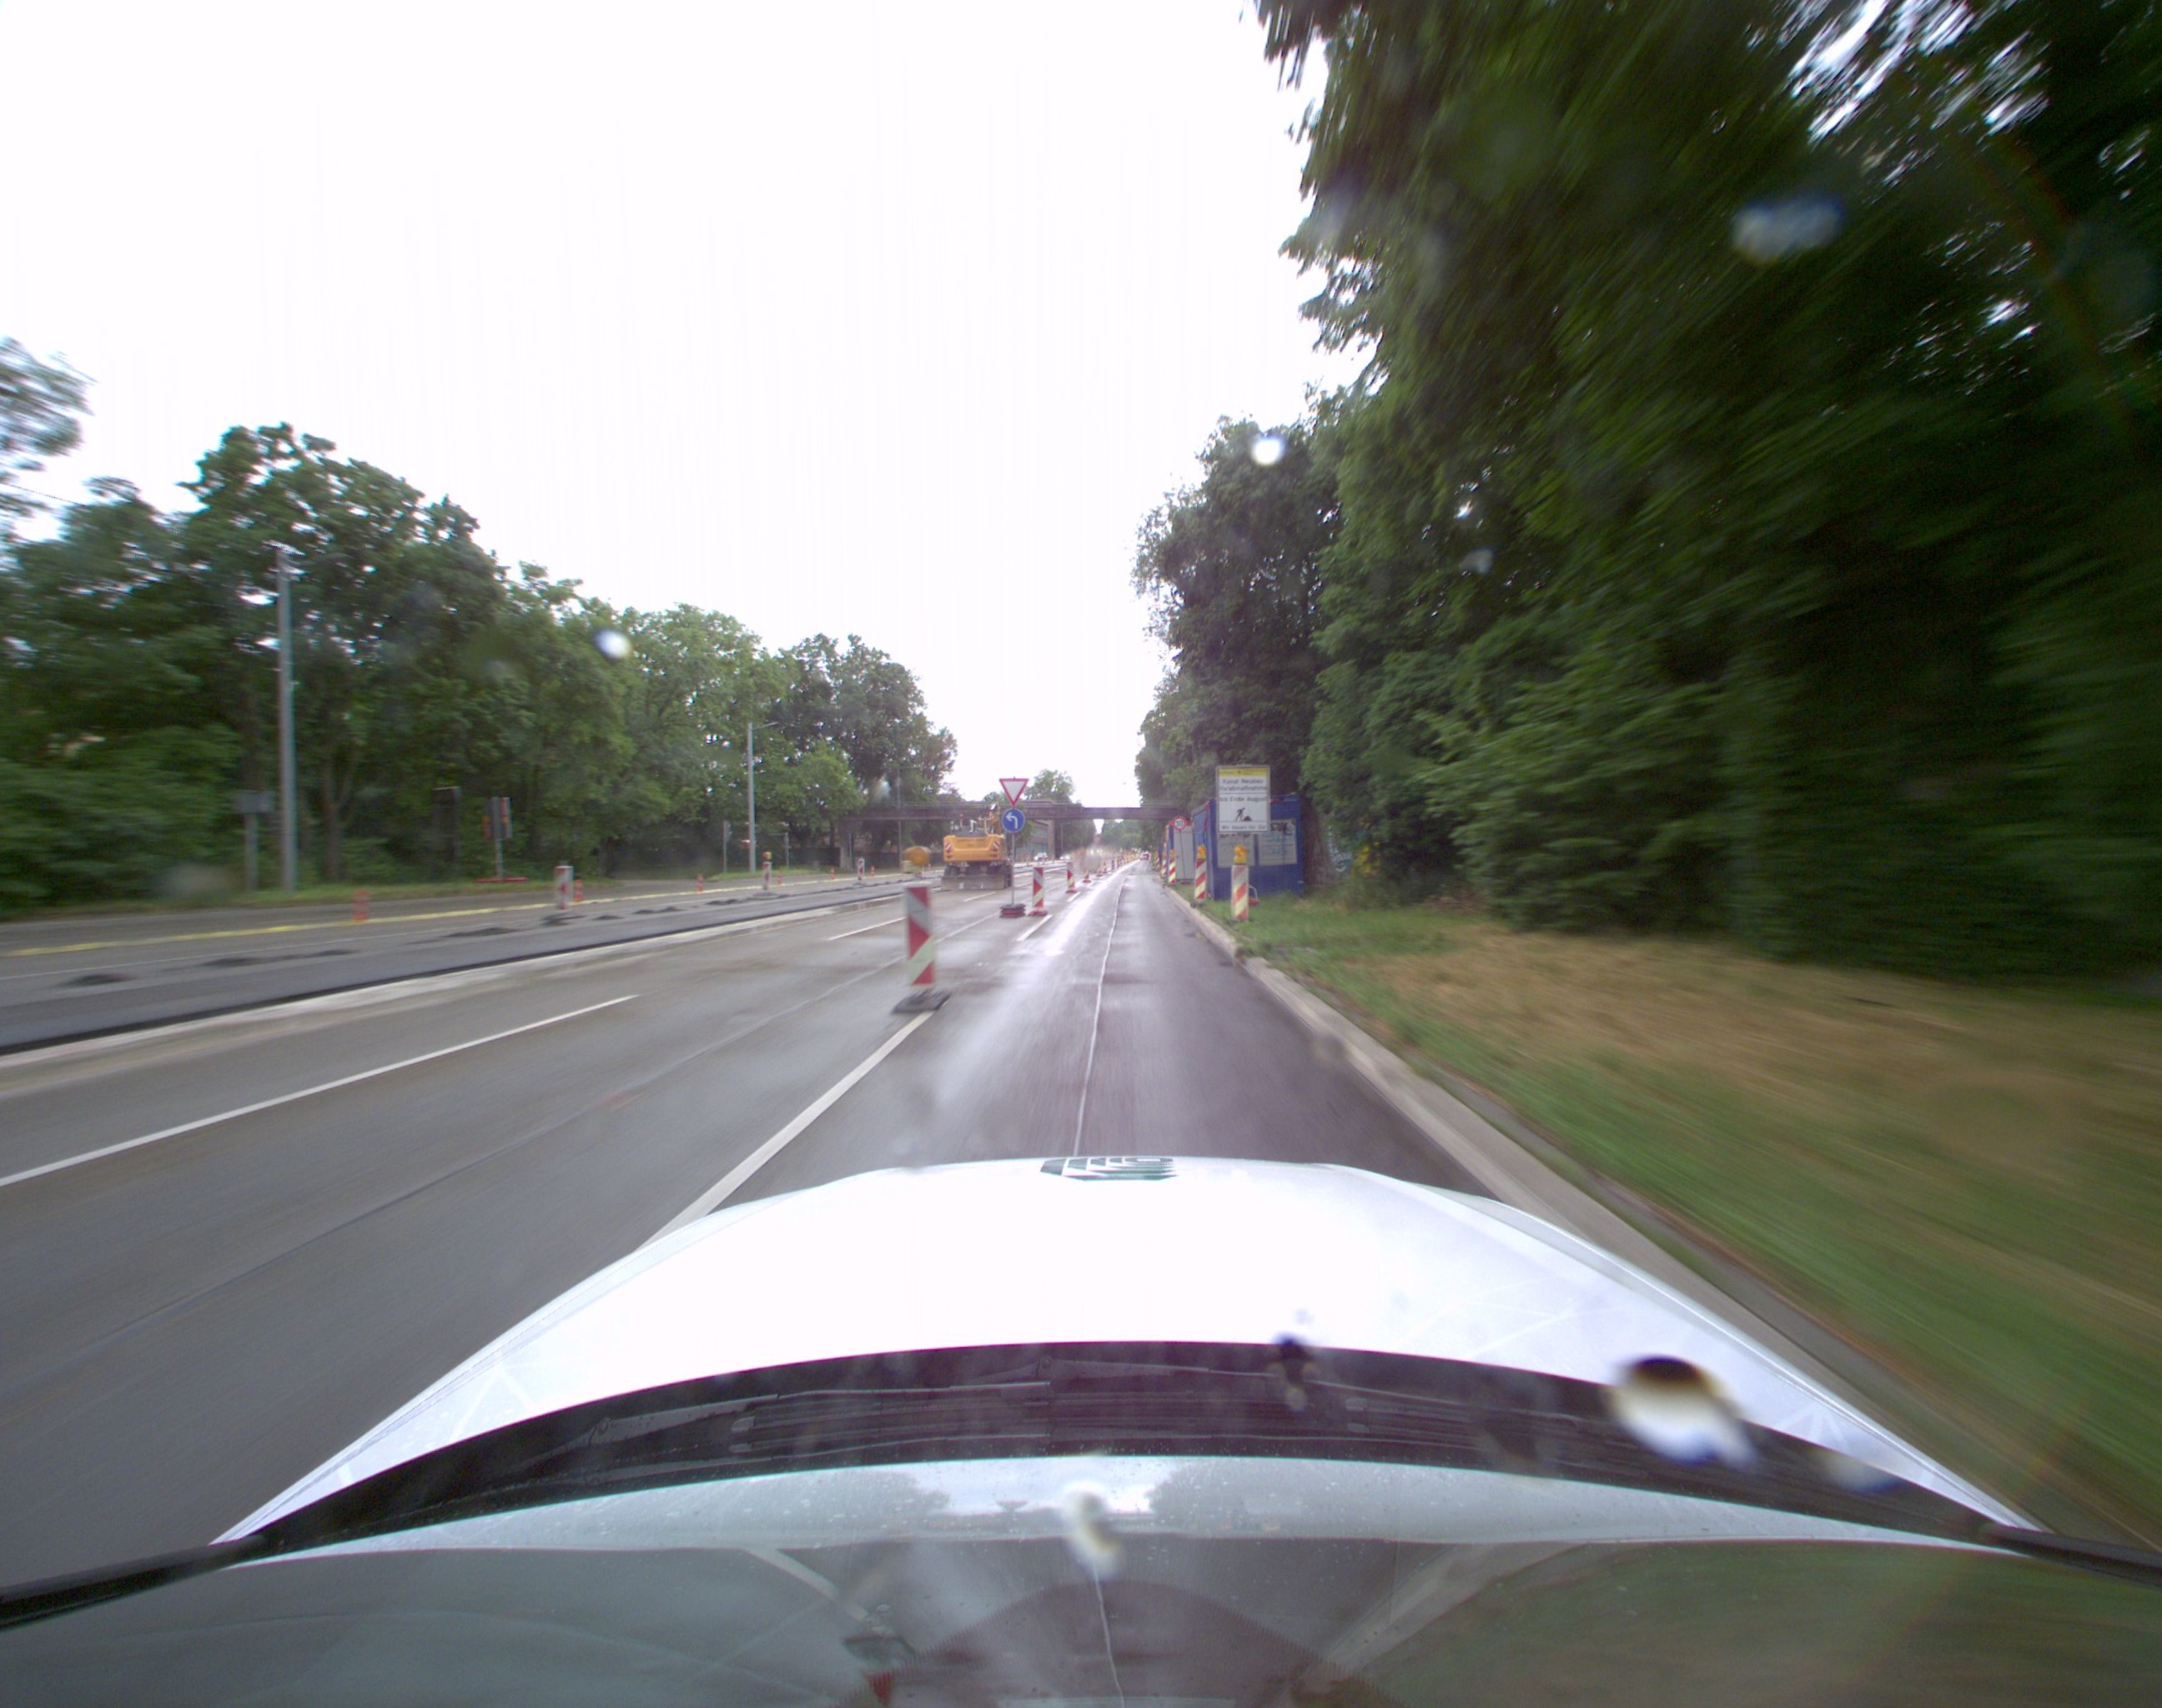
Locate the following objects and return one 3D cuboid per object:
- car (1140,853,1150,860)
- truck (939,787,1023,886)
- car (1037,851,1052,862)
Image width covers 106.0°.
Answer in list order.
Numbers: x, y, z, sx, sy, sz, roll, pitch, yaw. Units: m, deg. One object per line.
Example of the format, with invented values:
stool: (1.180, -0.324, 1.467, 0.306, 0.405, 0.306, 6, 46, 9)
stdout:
car: (14.435, 0.525, 183.707, 1.984, 1.640, 4.005, -2, 0, 4)
truck: (-4.677, -0.761, 40.338, 2.888, 4.259, 10.752, 0, 0, 0)
car: (-6.622, 0.477, 148.019, 1.961, 1.806, 4.614, -2, 0, 5)
